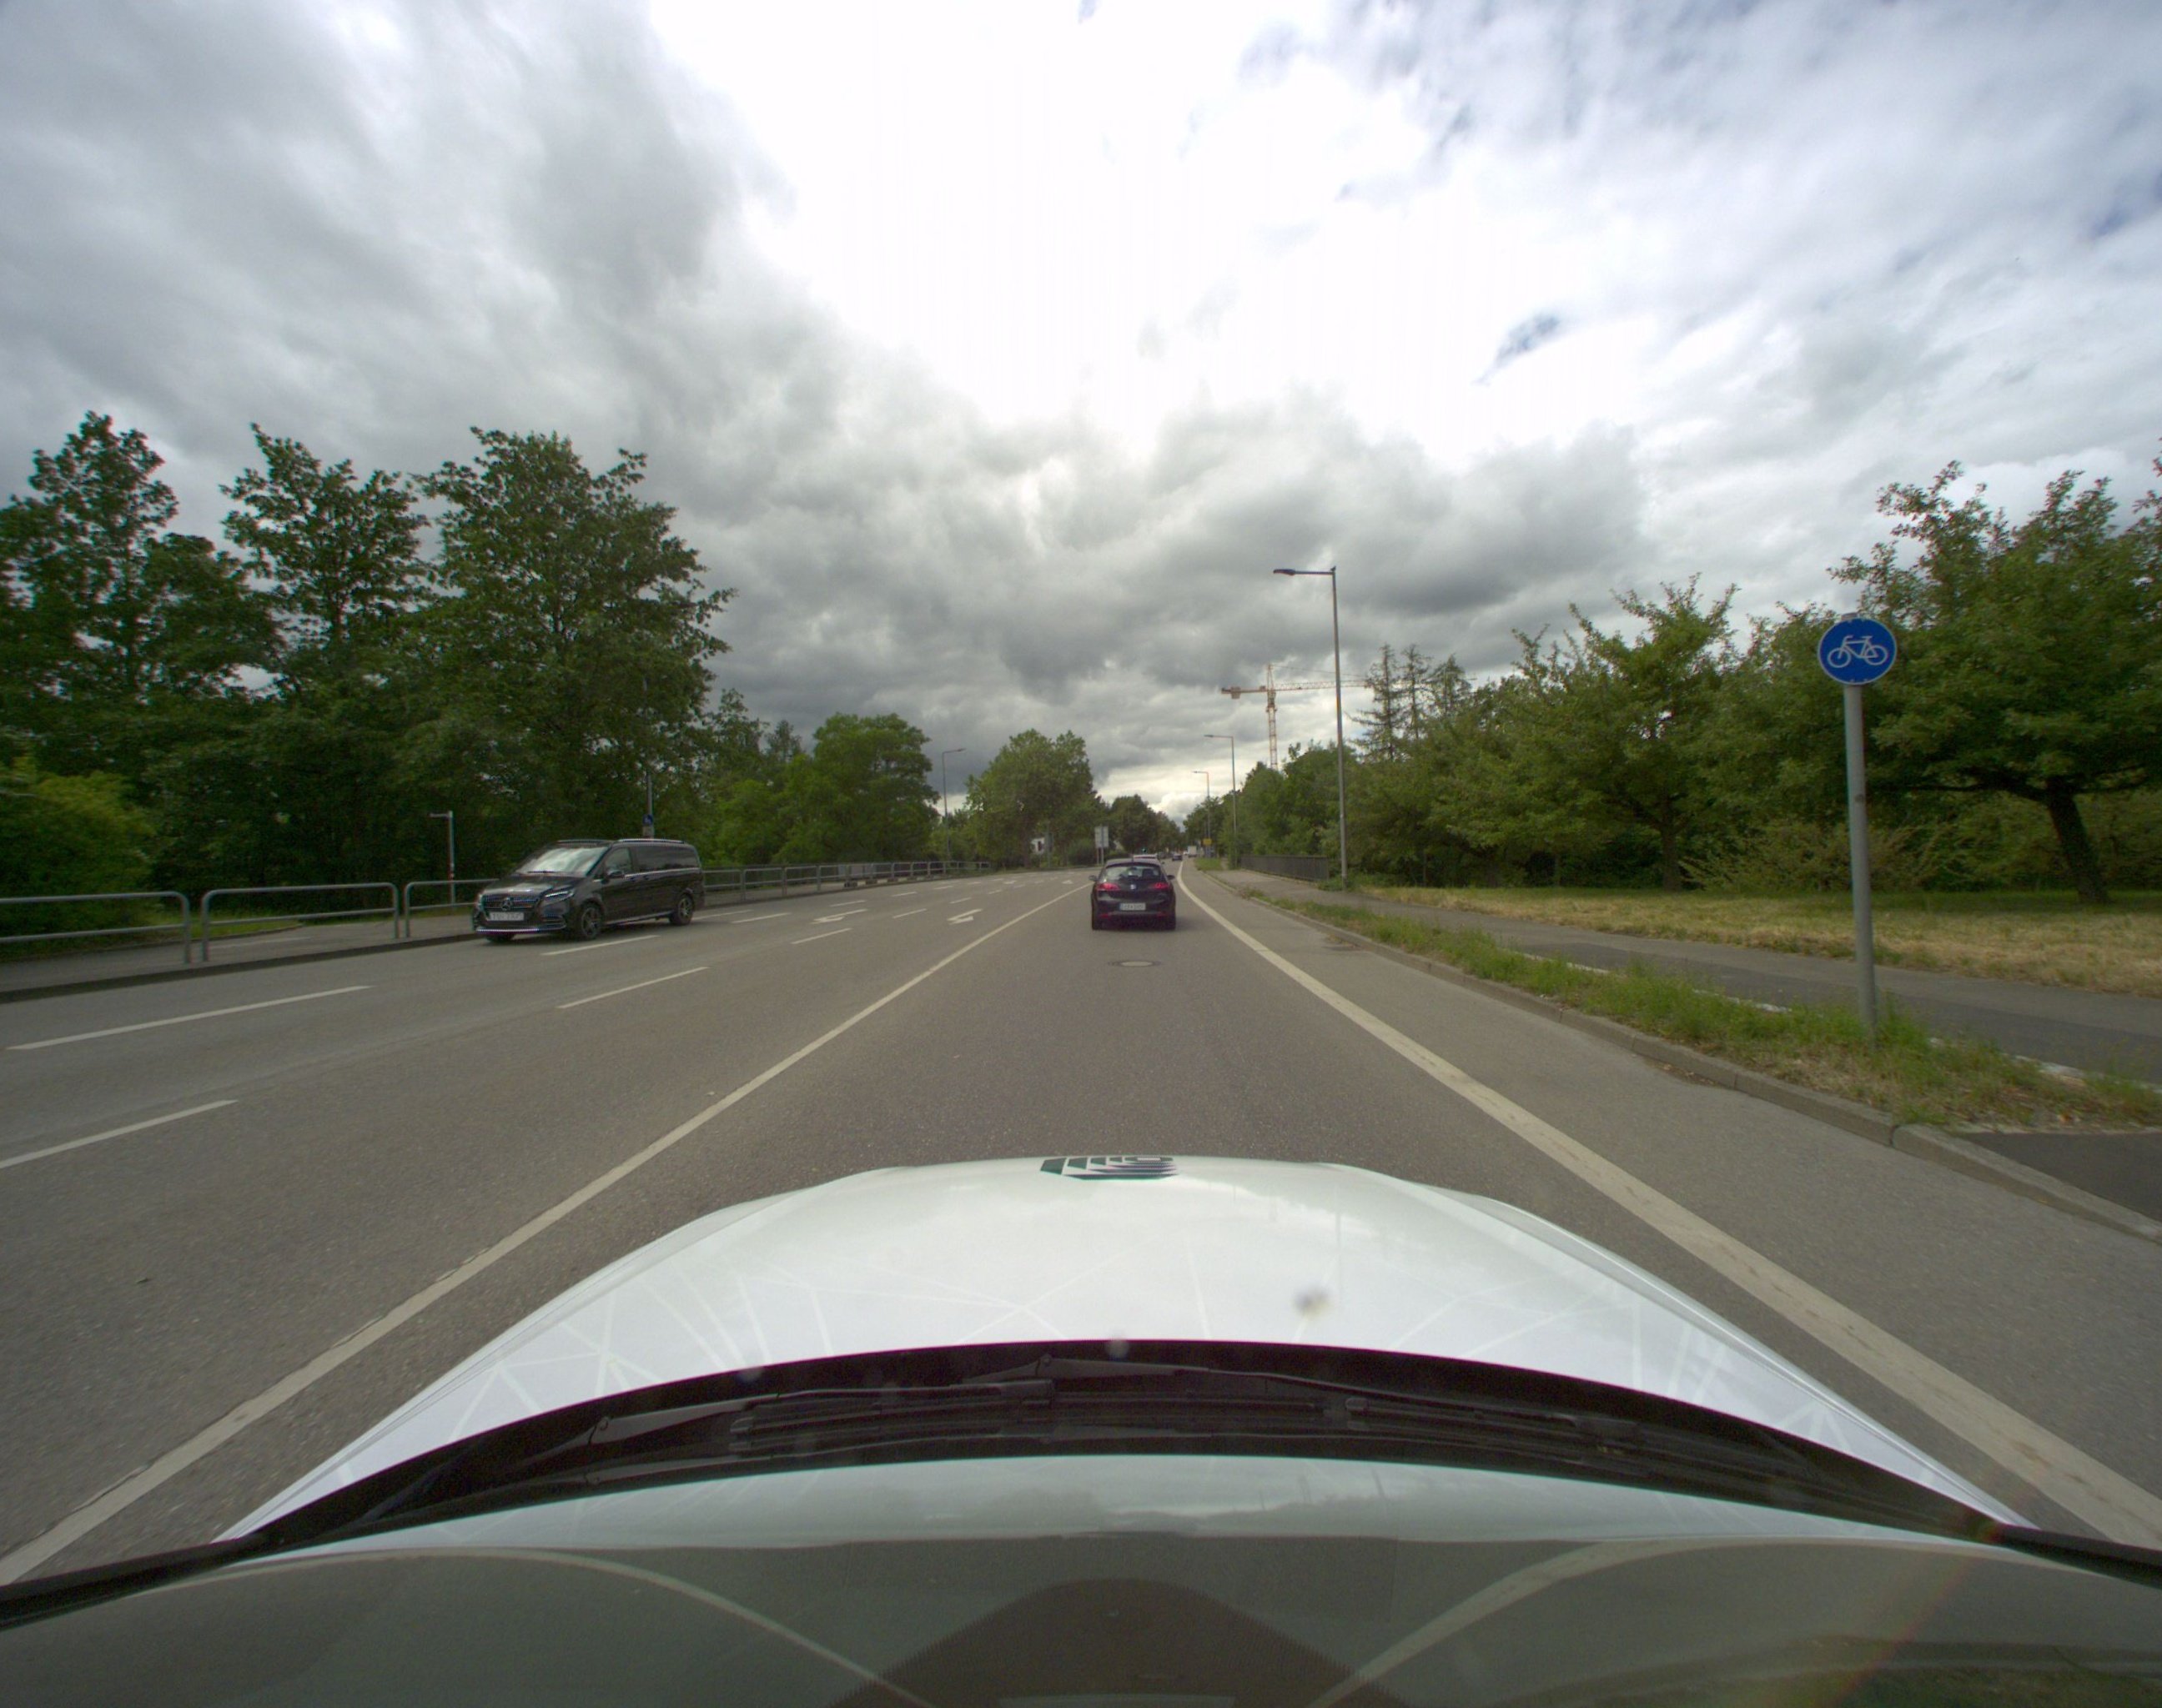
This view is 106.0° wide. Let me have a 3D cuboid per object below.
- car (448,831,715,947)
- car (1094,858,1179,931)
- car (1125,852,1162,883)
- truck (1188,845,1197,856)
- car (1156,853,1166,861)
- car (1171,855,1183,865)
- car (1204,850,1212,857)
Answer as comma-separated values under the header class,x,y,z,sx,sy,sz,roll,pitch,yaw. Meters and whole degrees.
class,x,y,z,sx,sy,sz,roll,pitch,yaw
car,-9.891,0.607,16.840,2.010,1.947,5.368,-2,0,2
car,1.255,0.811,17.786,1.655,1.401,3.817,-1,0,5
car,3.256,0.687,42.150,1.837,1.510,3.817,-1,0,5
truck,30.145,-0.903,219.893,2.265,3.104,8.531,0,0,9
car,20.618,0.679,210.656,2.087,1.896,5.799,-4,-1,9
car,17.569,1.070,148.401,1.870,1.689,4.225,-2,0,9
car,31.742,-0.155,203.474,1.678,1.490,3.364,-2,0,9
